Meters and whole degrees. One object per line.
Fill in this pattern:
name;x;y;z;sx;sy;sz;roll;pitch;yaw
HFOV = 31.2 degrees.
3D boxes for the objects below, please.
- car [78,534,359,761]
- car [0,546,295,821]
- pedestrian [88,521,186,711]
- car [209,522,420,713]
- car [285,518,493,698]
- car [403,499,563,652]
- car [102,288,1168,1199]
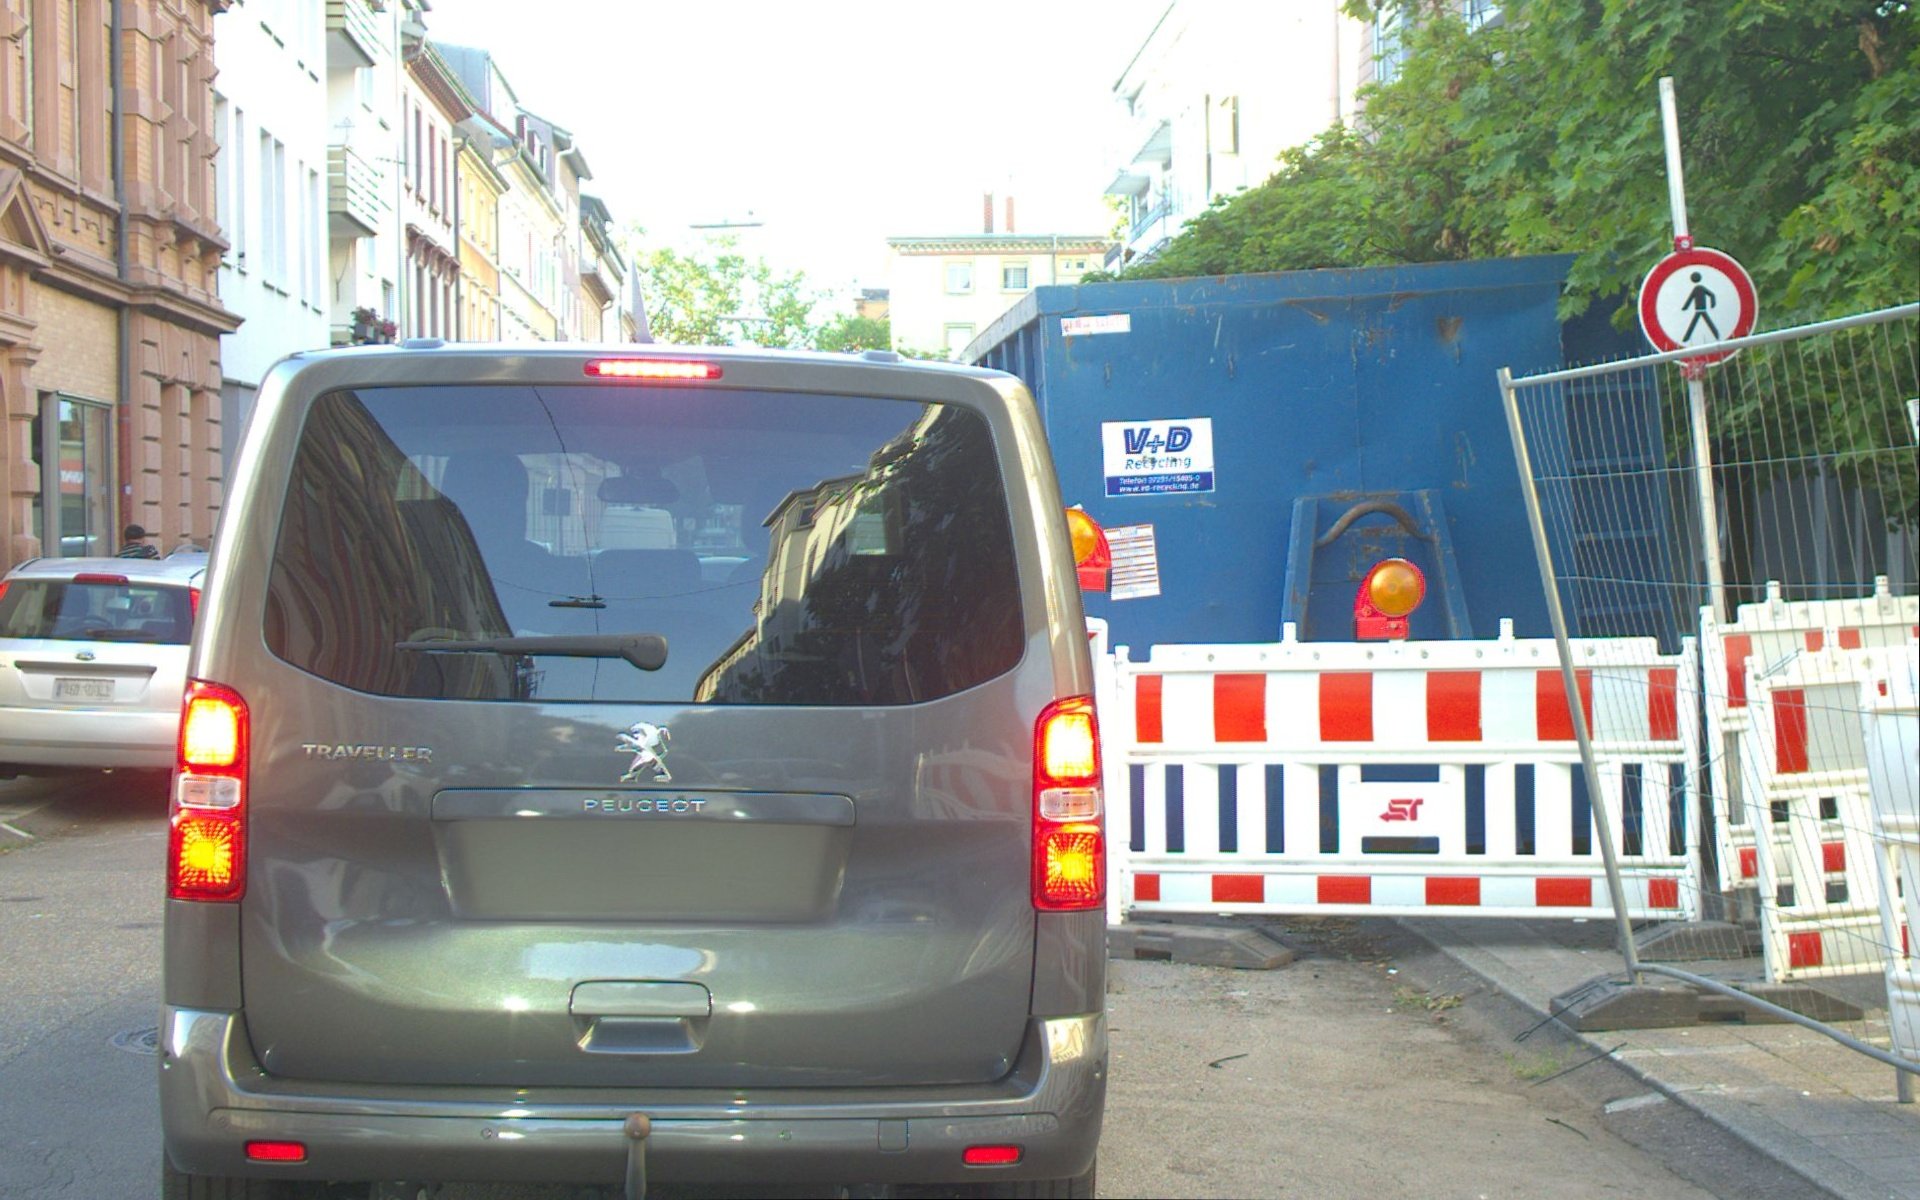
car;-5.593;0.329;26.278;1.655;1.520;3.419;4;0;-6
car;-5.090;0.449;20.967;1.655;1.455;3.419;4;0;-6
pedestrian;-7.311;0.132;30.564;0.739;1.659;0.704;-1;1;-7
car;-6.213;0.154;33.363;1.666;1.660;3.092;4;0;-6
car;-6.088;0.069;37.007;1.891;1.714;3.755;4;0;-6
car;-6.382;-0.330;46.371;1.891;1.840;4.350;4;0;-6
car;-0.785;0.384;8.152;1.865;1.880;4.236;0;0;-6
